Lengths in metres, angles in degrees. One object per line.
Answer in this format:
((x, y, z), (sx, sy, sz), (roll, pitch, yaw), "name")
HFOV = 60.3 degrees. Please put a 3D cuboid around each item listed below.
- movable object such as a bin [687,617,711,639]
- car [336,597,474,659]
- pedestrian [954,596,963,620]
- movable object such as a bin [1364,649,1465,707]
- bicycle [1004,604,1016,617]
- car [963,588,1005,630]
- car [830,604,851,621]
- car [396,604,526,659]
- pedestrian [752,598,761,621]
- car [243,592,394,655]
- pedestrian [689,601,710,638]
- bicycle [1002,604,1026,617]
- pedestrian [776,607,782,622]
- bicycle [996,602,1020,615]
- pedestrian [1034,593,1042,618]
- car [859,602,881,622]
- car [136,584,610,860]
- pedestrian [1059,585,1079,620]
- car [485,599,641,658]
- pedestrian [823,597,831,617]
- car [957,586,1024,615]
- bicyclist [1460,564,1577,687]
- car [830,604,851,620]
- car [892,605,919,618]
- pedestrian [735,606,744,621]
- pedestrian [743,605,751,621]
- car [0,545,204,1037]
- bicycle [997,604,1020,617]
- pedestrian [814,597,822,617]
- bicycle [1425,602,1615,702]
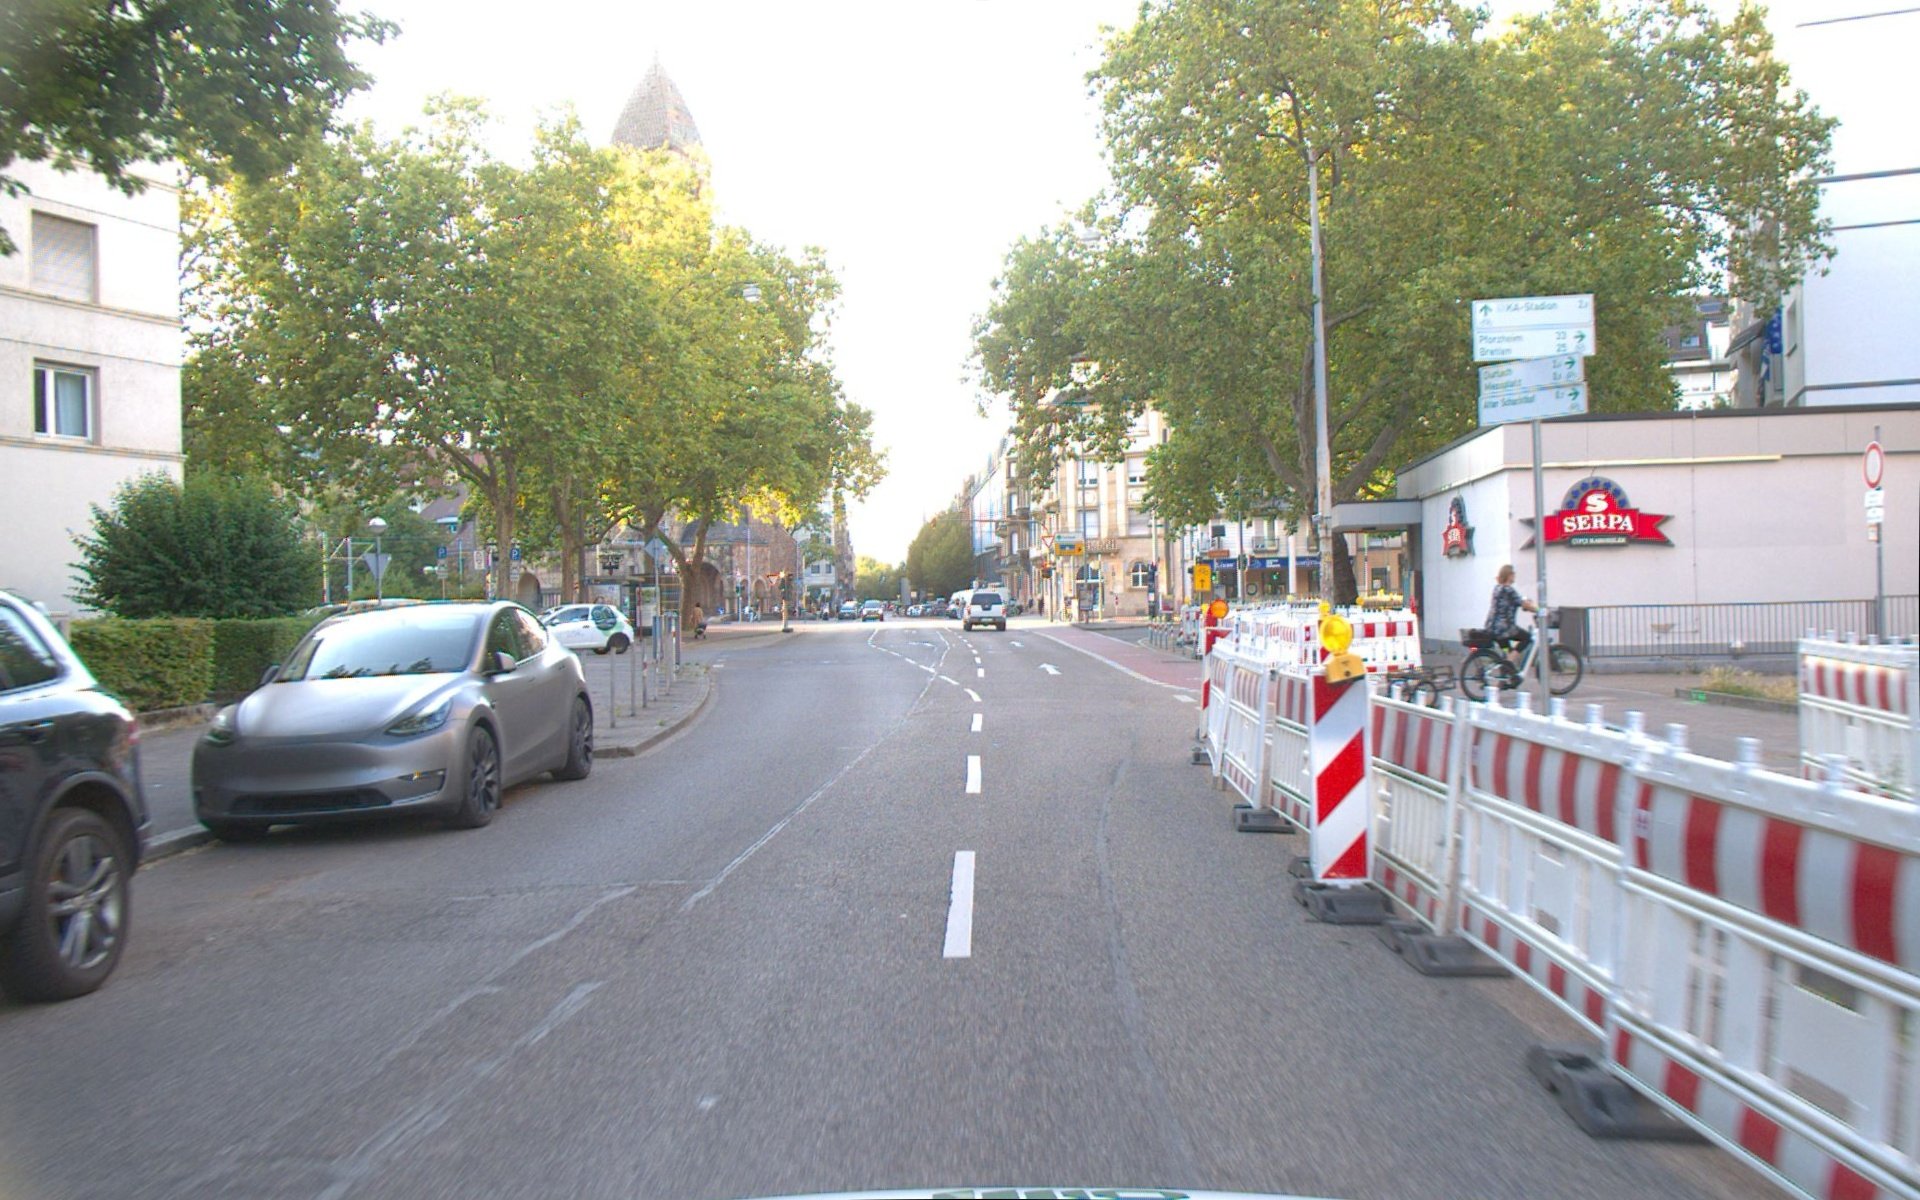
((-11.620, 1.242, 73.618), (0.722, 0.906, 0.983), (-1, 0, 13), "movable object such as a bin")
((-18.193, 0.876, 54.465), (1.781, 1.831, 4.633), (-1, 1, 20), "car")
((-0.125, 0.649, 132.617), (0.581, 1.919, 0.647), (-1, 0, 3), "pedestrian")
((6.254, 1.064, 22.794), (0.973, 0.701, 0.939), (-4, -1, -13), "movable object such as a bin")
((4.081, 0.838, 134.956), (0.532, 0.985, 1.922), (-1, 0, 15), "bicycle")
((1.086, 0.418, 76.745), (1.828, 1.846, 4.000), (-2, 0, 0), "car")
((-11.952, 1.240, 165.601), (1.955, 1.680, 3.815), (0, 0, -7), "car")
((-15.739, 0.965, 52.436), (1.780, 1.507, 4.635), (-1, 1, 14), "car")
((-17.270, 0.837, 140.410), (0.581, 1.919, 0.553), (-1, 0, 23), "pedestrian")
((-20.879, 0.725, 54.039), (2.035, 1.873, 4.633), (-1, 1, 20), "car")
((-11.740, 0.884, 74.540), (0.722, 1.657, 0.686), (-1, 0, 13), "pedestrian")
((4.369, 0.834, 133.593), (1.874, 0.985, 0.546), (-1, 0, 15), "bicycle")
((-16.299, 1.300, 149.135), (0.481, 1.309, 0.499), (-1, 0, -2), "pedestrian")
((3.862, 0.710, 132.533), (1.876, 0.985, 0.545), (-1, 0, -1), "bicycle")
((6.006, 0.434, 126.978), (0.581, 1.919, 0.647), (-1, 0, 3), "pedestrian")
((-7.842, 1.032, 143.730), (1.747, 1.680, 3.815), (0, 0, -7), "car")
((-4.234, 0.780, 12.858), (1.913, 1.645, 4.605), (-3, 0, 1), "car")
((5.664, 0.148, 86.135), (0.782, 1.799, 0.718), (-1, 0, -16), "pedestrian")
((-11.453, 0.806, 47.762), (3.950, 1.545, 1.978), (-1, 0, -33), "car")
((-12.766, 0.662, 158.617), (0.581, 1.919, 0.554), (-1, 0, 16), "pedestrian")
((2.579, 0.031, 139.076), (5.774, 2.328, 2.040), (-1, 0, -42), "car")
((7.814, 0.359, 23.172), (1.123, 1.609, 0.939), (-4, -1, -13), "bicyclist")
((-12.541, 1.280, 173.320), (1.955, 1.680, 3.815), (0, 0, -7), "car")
((-8.158, 1.668, 246.468), (3.909, 1.847, 1.998), (-1, 0, -5), "car")
((-19.113, 1.175, 143.568), (0.564, 1.313, 0.483), (-1, 0, 41), "pedestrian")
((-18.638, 1.151, 144.694), (0.560, 1.343, 0.487), (-1, 0, 13), "pedestrian")
((-4.408, 0.730, 5.019), (1.914, 1.748, 4.771), (-3, 0, 0), "car")
((3.896, 0.828, 132.812), (1.876, 0.985, 0.545), (-1, 0, -1), "bicycle")
((-13.571, 0.697, 158.414), (0.580, 1.919, 0.585), (-1, 0, 15), "pedestrian")
((7.833, 0.714, 23.165), (2.311, 1.192, 0.939), (-4, -1, -14), "bicycle")
